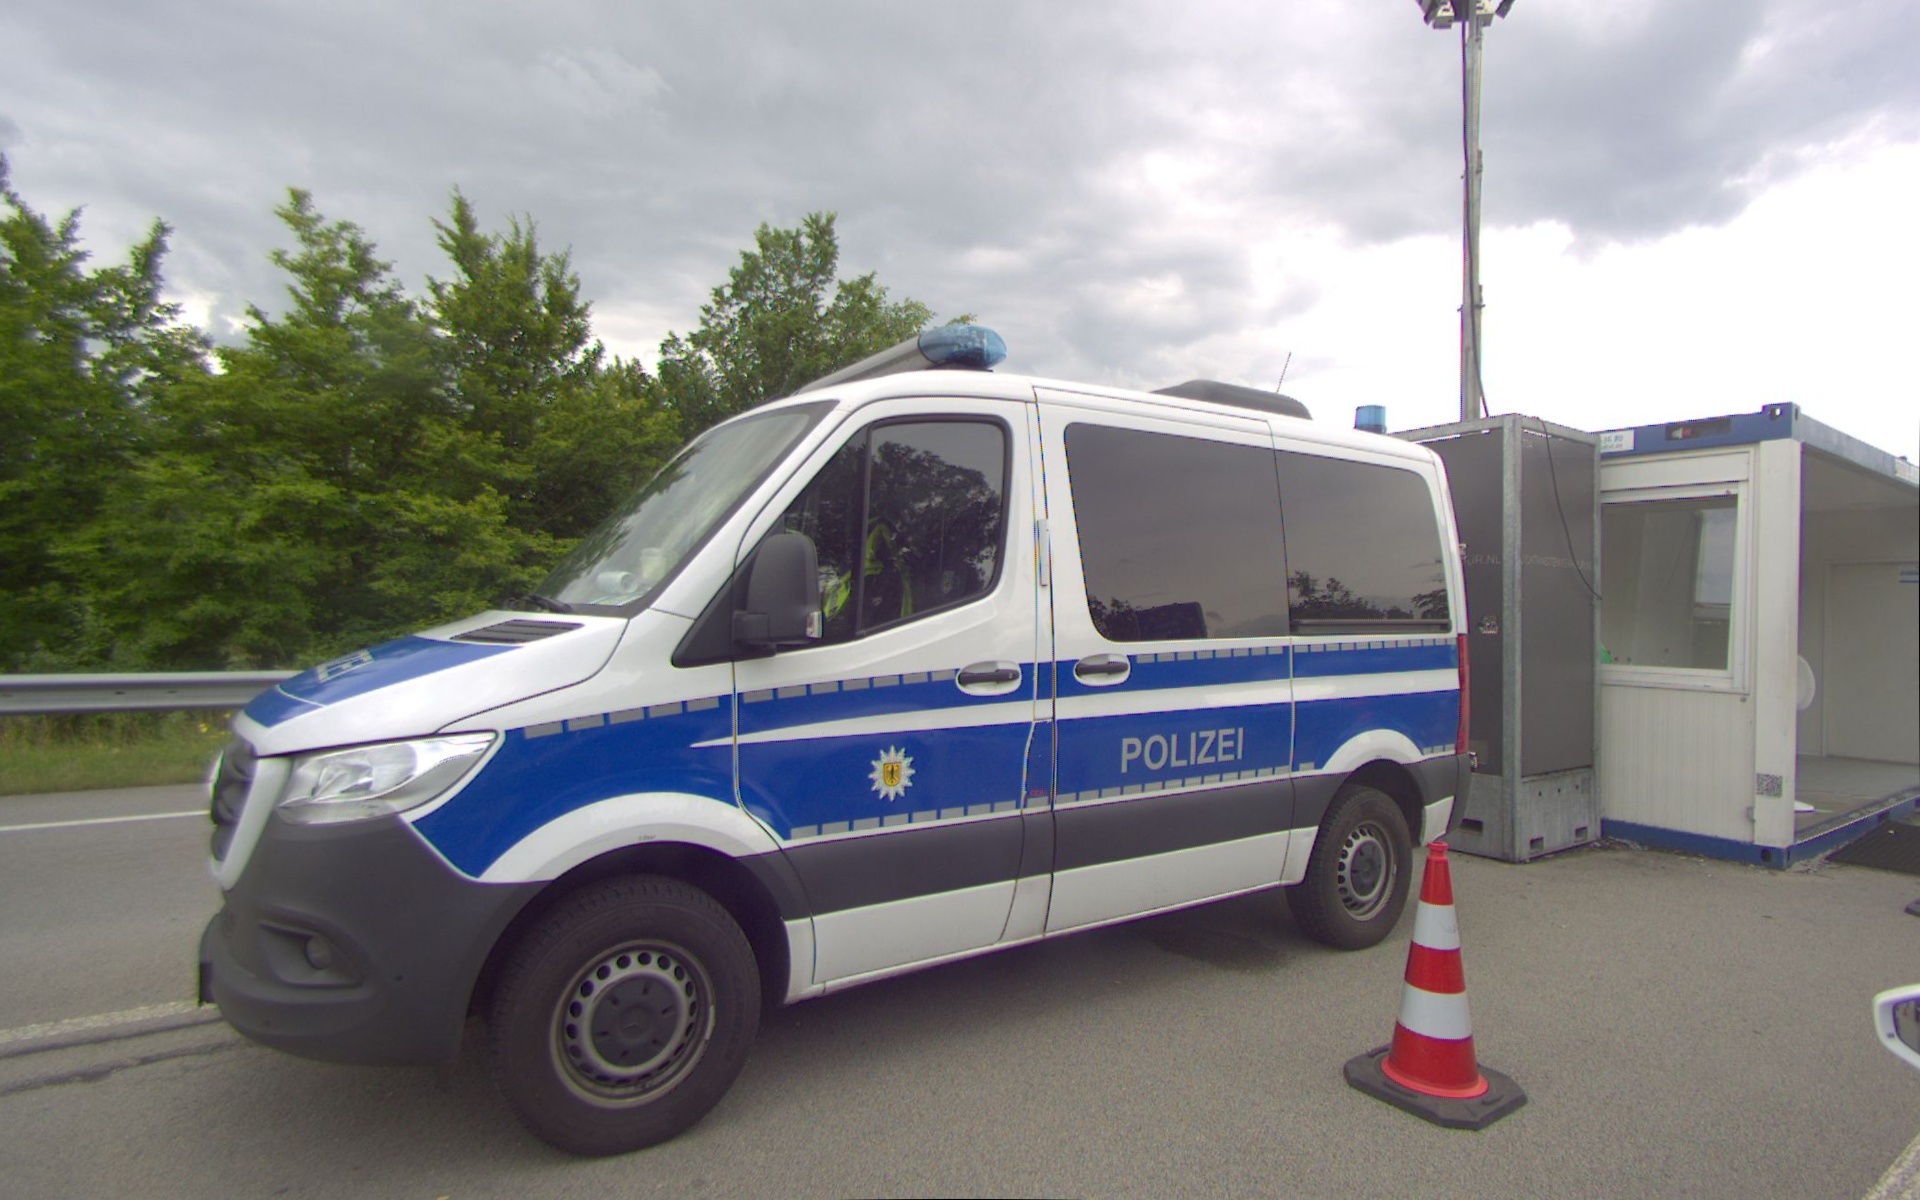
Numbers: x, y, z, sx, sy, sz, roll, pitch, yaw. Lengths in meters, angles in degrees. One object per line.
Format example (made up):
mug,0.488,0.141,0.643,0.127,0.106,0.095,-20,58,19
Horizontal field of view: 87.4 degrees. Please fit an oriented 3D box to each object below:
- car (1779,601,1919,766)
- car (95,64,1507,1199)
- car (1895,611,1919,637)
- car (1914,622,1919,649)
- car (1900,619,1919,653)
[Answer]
car,11.811,0.942,12.173,3.967,1.767,1.857,1,0,-34
car,-0.066,0.240,4.290,5.224,2.496,2.017,1,0,-34
car,87.203,2.201,91.942,1.831,2.252,4.241,1,0,37
car,55.873,2.052,57.426,1.836,1.518,4.230,1,-1,44
car,44.569,1.648,46.086,4.226,1.518,1.838,2,0,-43
